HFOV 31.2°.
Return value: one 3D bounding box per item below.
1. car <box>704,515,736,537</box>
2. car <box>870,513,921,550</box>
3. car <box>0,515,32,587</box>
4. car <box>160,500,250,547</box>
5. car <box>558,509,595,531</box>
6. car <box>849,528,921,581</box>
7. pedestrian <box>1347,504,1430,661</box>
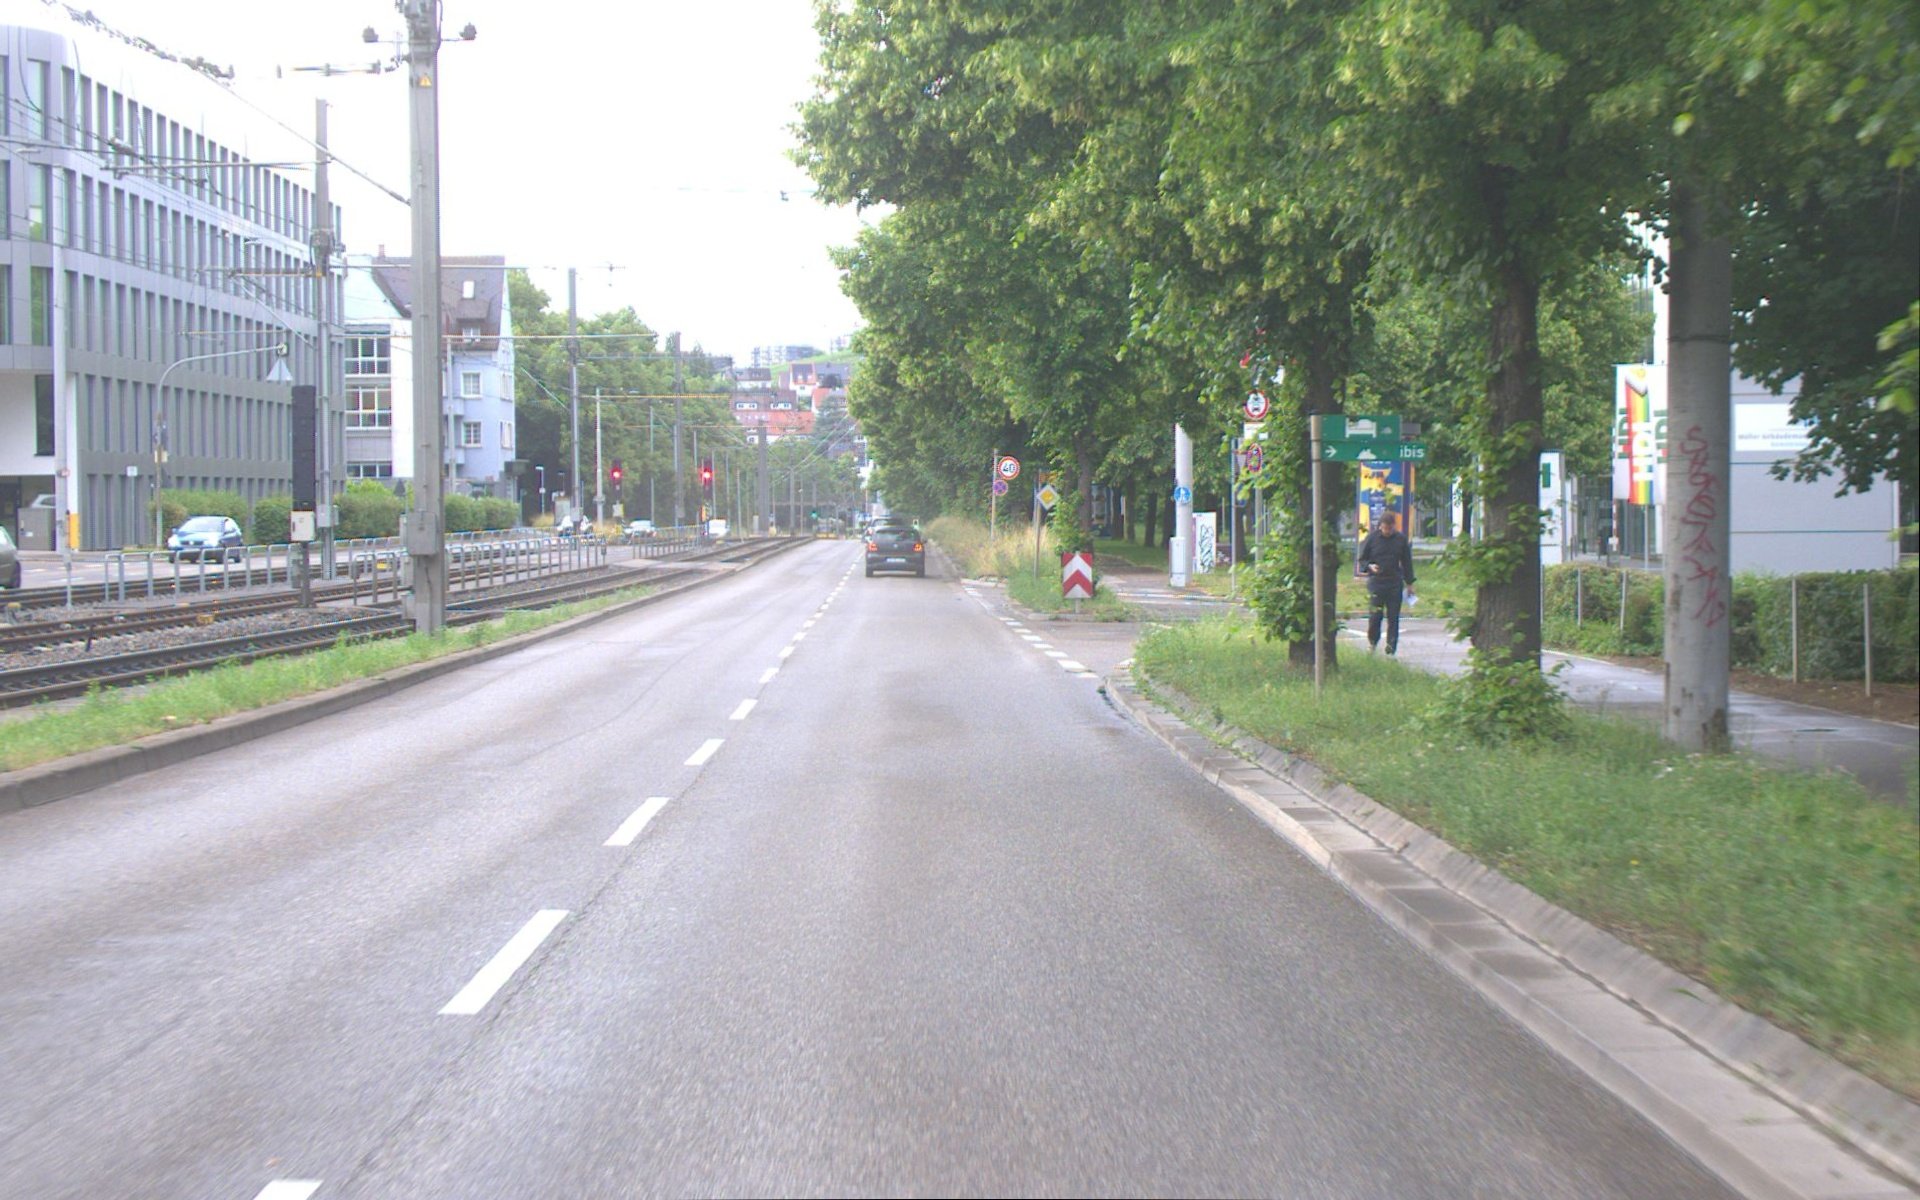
[{"bbox_3d":[-17.589,-5.438,252.148,1.902,1.639,4.884,0,2,0],"label":"car"},{"bbox_3d":[-2.500,-2.689,134.141,1.982,1.435,4.474,0,2,-1],"label":"car"},{"bbox_3d":[-20.548,-0.997,70.252,1.891,1.481,4.308,0,2,2],"label":"car"},{"bbox_3d":[-23.096,-2.350,105.249,1.761,1.392,3.900,0,2,2],"label":"car"},{"bbox_3d":[-21.913,-4.560,196.582,1.756,1.239,3.988,0,2,-1],"label":"car"},{"bbox_3d":[-2.105,-1.301,97.324,1.982,1.435,4.474,0,2,-1],"label":"car"},{"bbox_3d":[4.985,-0.213,40.043,0.826,1.791,0.868,1,1,0],"label":"pedestrian"}]
